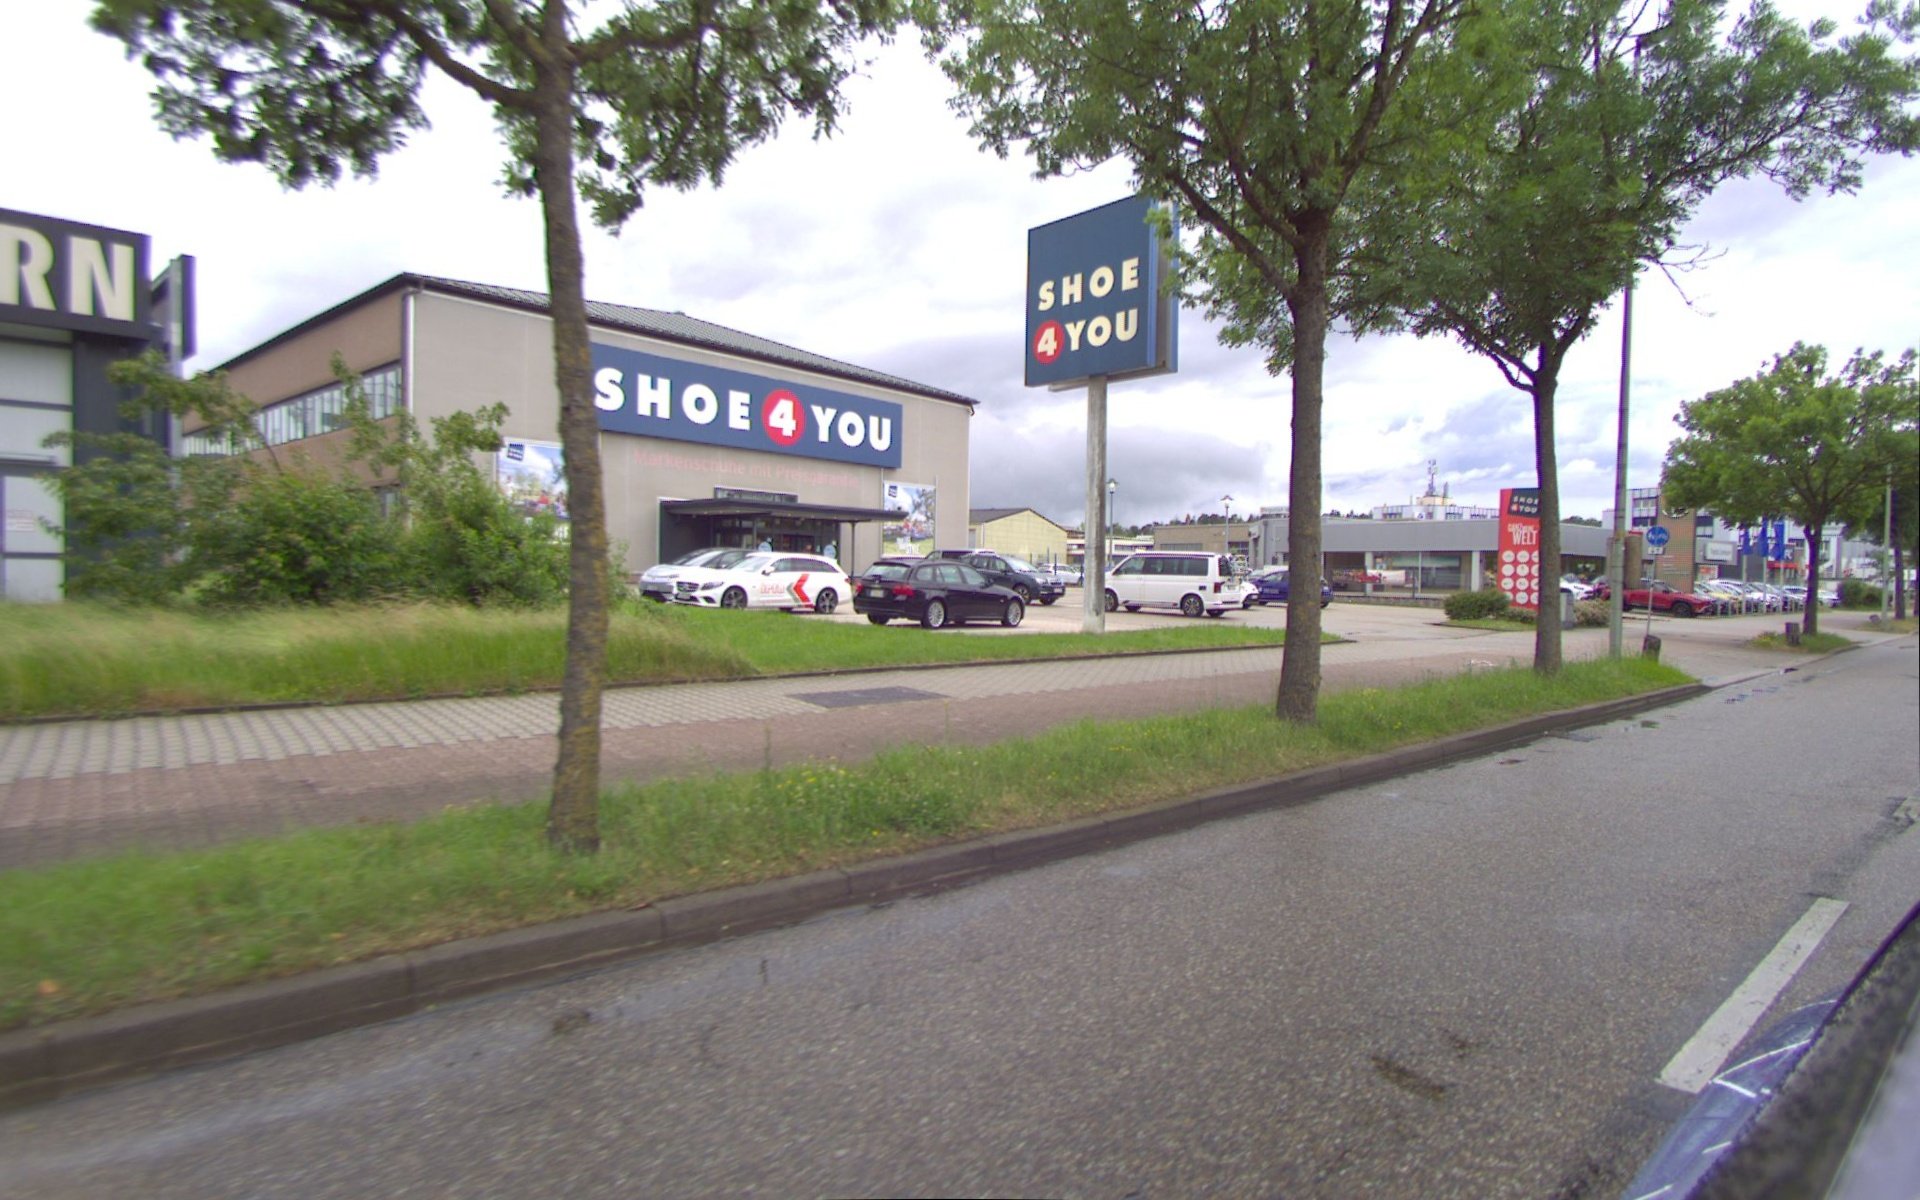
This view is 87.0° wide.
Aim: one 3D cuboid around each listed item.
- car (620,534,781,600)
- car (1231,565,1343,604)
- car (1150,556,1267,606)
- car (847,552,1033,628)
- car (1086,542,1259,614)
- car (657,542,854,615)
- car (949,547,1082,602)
[{"bbox_3d":[-6.716,-0.823,26.386,1.992,1.571,3.605,0,1,41],"label":"car"},{"bbox_3d":[13.236,-0.636,41.027,3.980,1.415,1.653,3,2,39],"label":"car"},{"bbox_3d":[9.415,-0.700,38.492,3.982,1.820,1.796,0,0,41],"label":"car"},{"bbox_3d":[-0.333,-0.241,21.695,1.747,1.430,4.078,4,3,39],"label":"car"},{"bbox_3d":[6.629,-0.739,31.882,4.939,2.038,1.973,4,3,38],"label":"car"},{"bbox_3d":[-4.800,-0.496,24.278,1.896,1.567,4.462,0,1,40],"label":"car"},{"bbox_3d":[1.924,-0.930,36.070,4.434,1.784,1.971,4,3,40],"label":"car"}]
